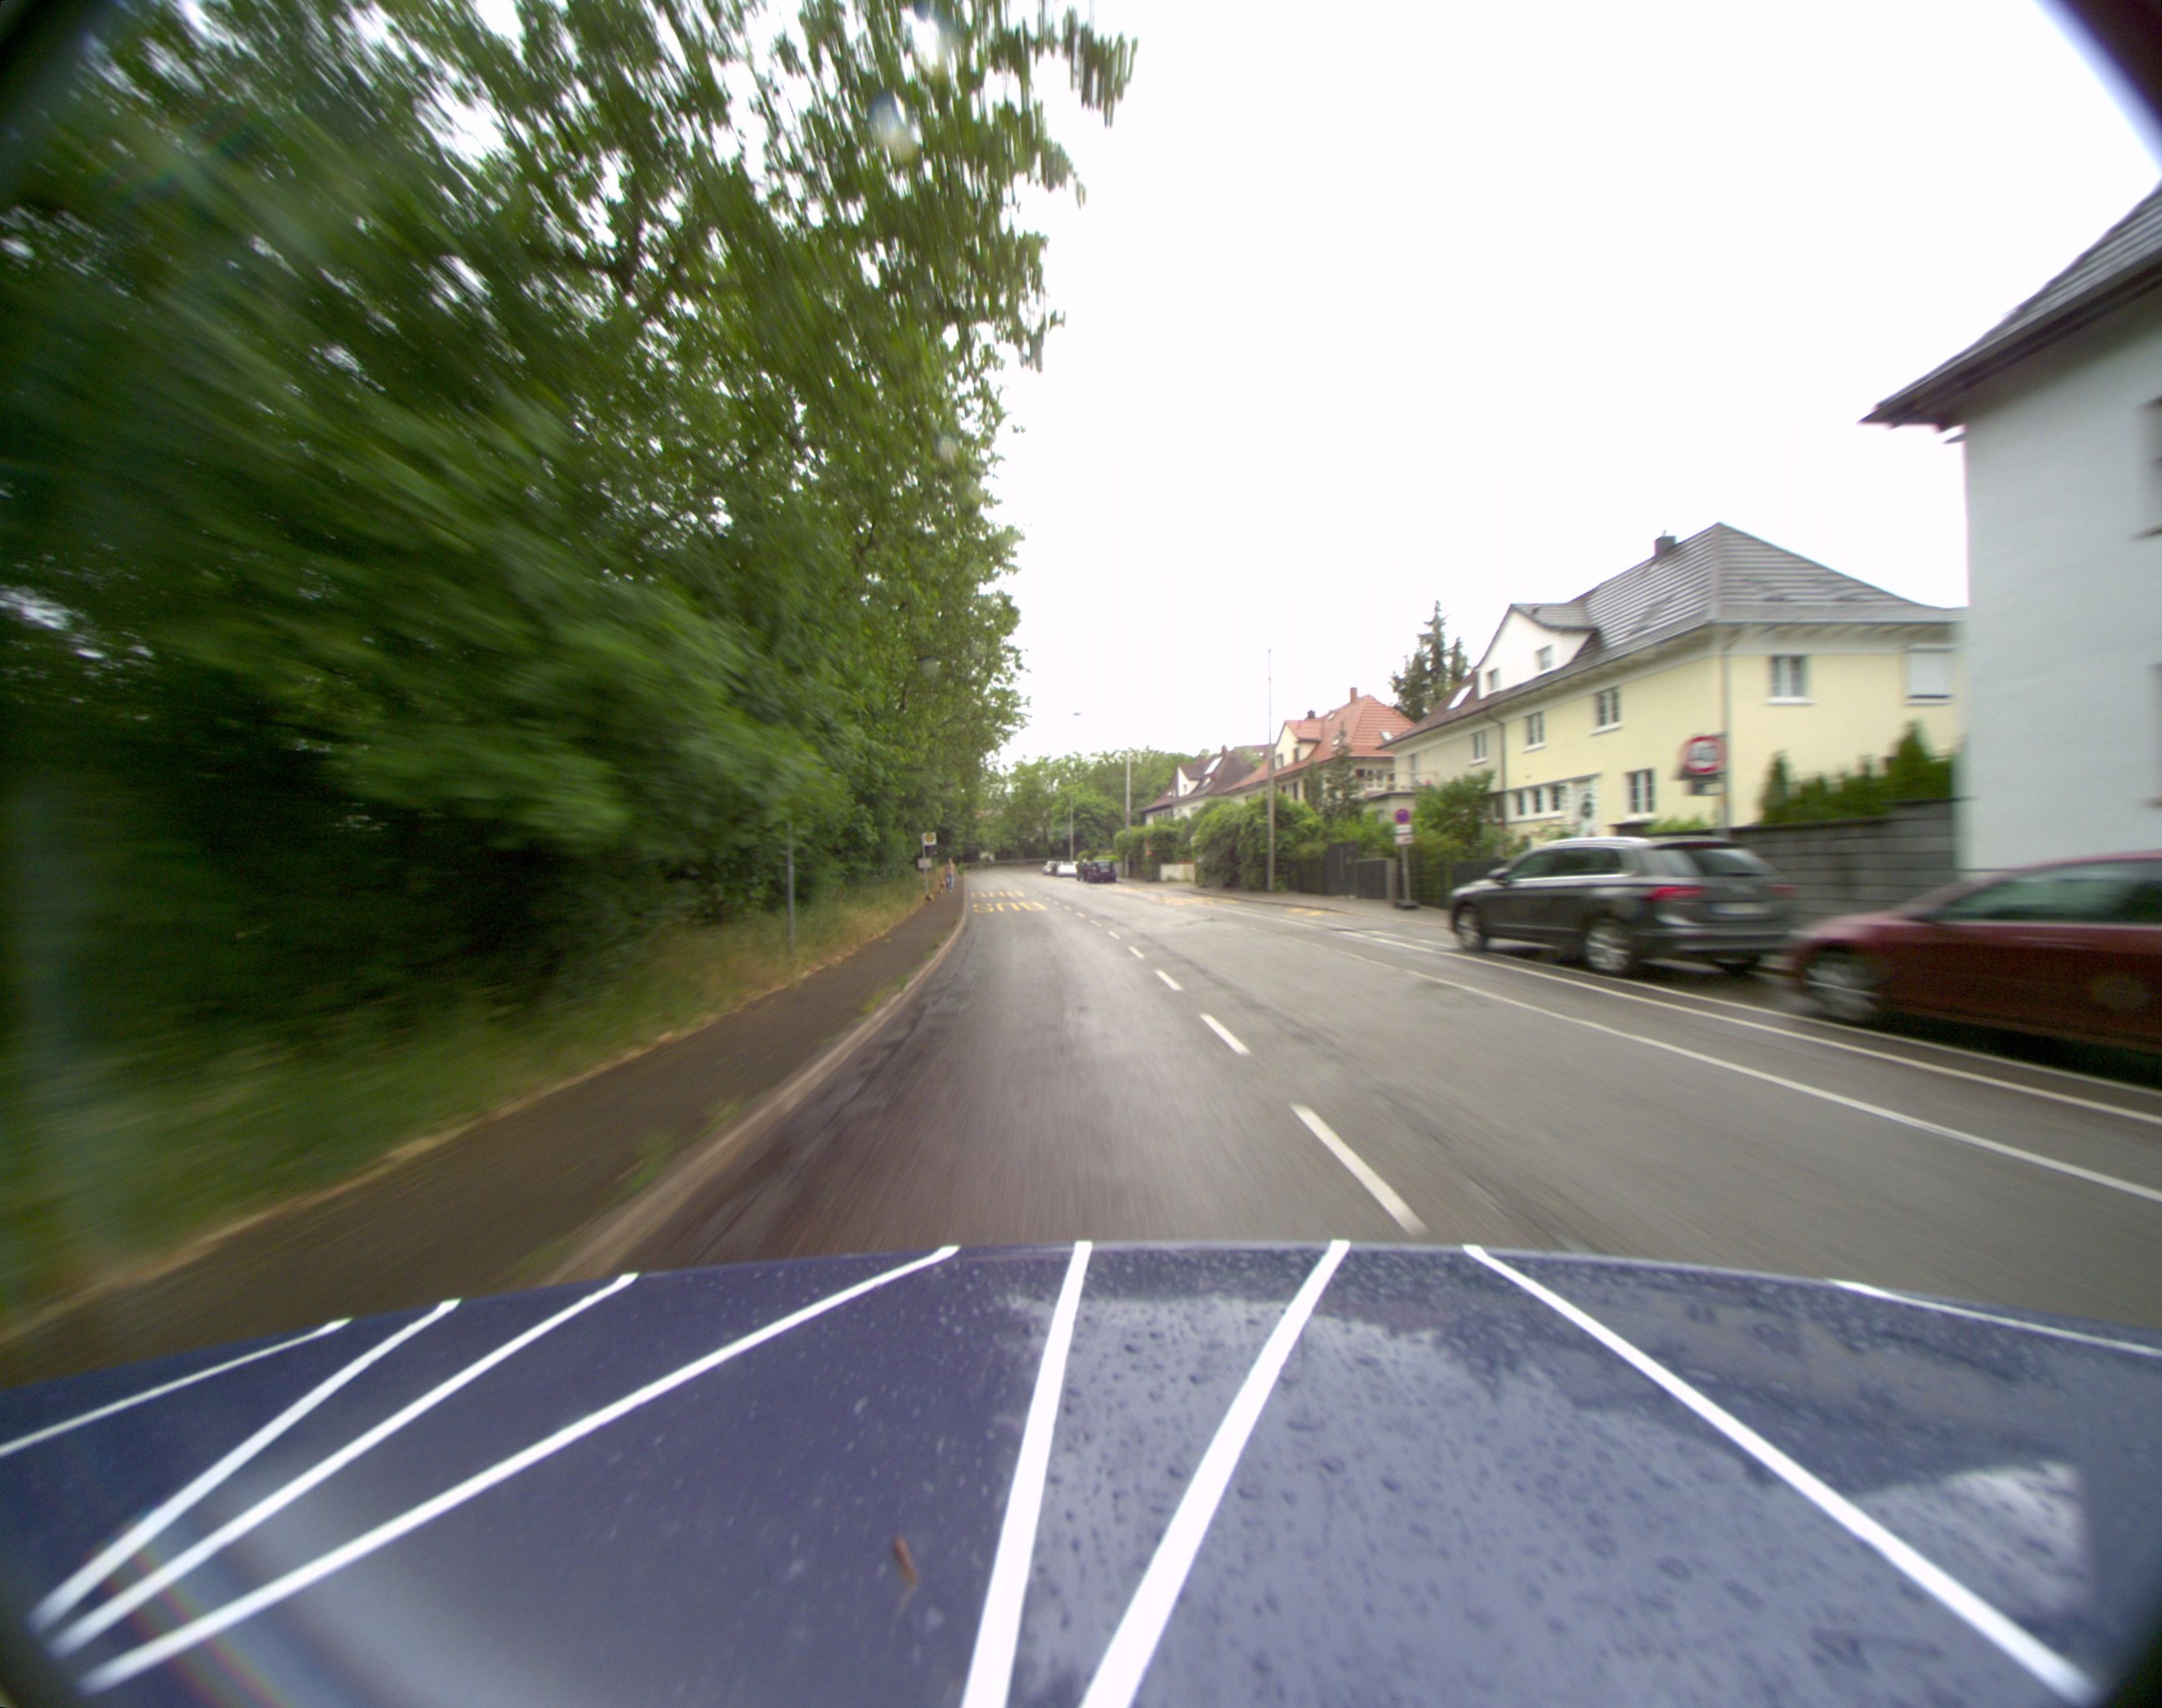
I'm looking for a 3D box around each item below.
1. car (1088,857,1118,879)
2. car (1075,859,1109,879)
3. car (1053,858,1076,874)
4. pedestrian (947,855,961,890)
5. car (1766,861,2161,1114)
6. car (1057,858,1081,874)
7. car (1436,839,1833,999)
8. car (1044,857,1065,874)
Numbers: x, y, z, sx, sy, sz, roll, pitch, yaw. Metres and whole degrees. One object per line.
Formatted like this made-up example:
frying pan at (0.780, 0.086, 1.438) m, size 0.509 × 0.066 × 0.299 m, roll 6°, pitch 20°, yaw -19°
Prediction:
car at (1.474, 0.953, 51.631) m, size 1.524 × 1.445 × 3.027 m, roll 0°, pitch -1°, yaw -8°
car at (0.798, 1.073, 56.309) m, size 1.693 × 1.410 × 4.211 m, roll 0°, pitch -1°, yaw -11°
car at (-1.675, 1.178, 75.535) m, size 1.704 × 1.516 × 4.419 m, roll -1°, pitch 0°, yaw -10°
pedestrian at (-6.061, 0.871, 36.204) m, size 0.644 × 1.602 × 0.669 m, roll -1°, pitch 2°, yaw -9°
car at (7.052, 0.774, 4.782) m, size 1.620 × 1.432 × 4.230 m, roll -1°, pitch -1°, yaw 0°
car at (-1.127, 1.087, 71.195) m, size 1.704 × 1.459 × 3.708 m, roll -1°, pitch 0°, yaw -10°
car at (6.809, 0.698, 10.095) m, size 1.759 × 1.648 × 4.403 m, roll 0°, pitch -1°, yaw -6°
car at (-2.836, 1.223, 81.093) m, size 1.738 × 1.412 × 4.283 m, roll -3°, pitch -4°, yaw -9°
